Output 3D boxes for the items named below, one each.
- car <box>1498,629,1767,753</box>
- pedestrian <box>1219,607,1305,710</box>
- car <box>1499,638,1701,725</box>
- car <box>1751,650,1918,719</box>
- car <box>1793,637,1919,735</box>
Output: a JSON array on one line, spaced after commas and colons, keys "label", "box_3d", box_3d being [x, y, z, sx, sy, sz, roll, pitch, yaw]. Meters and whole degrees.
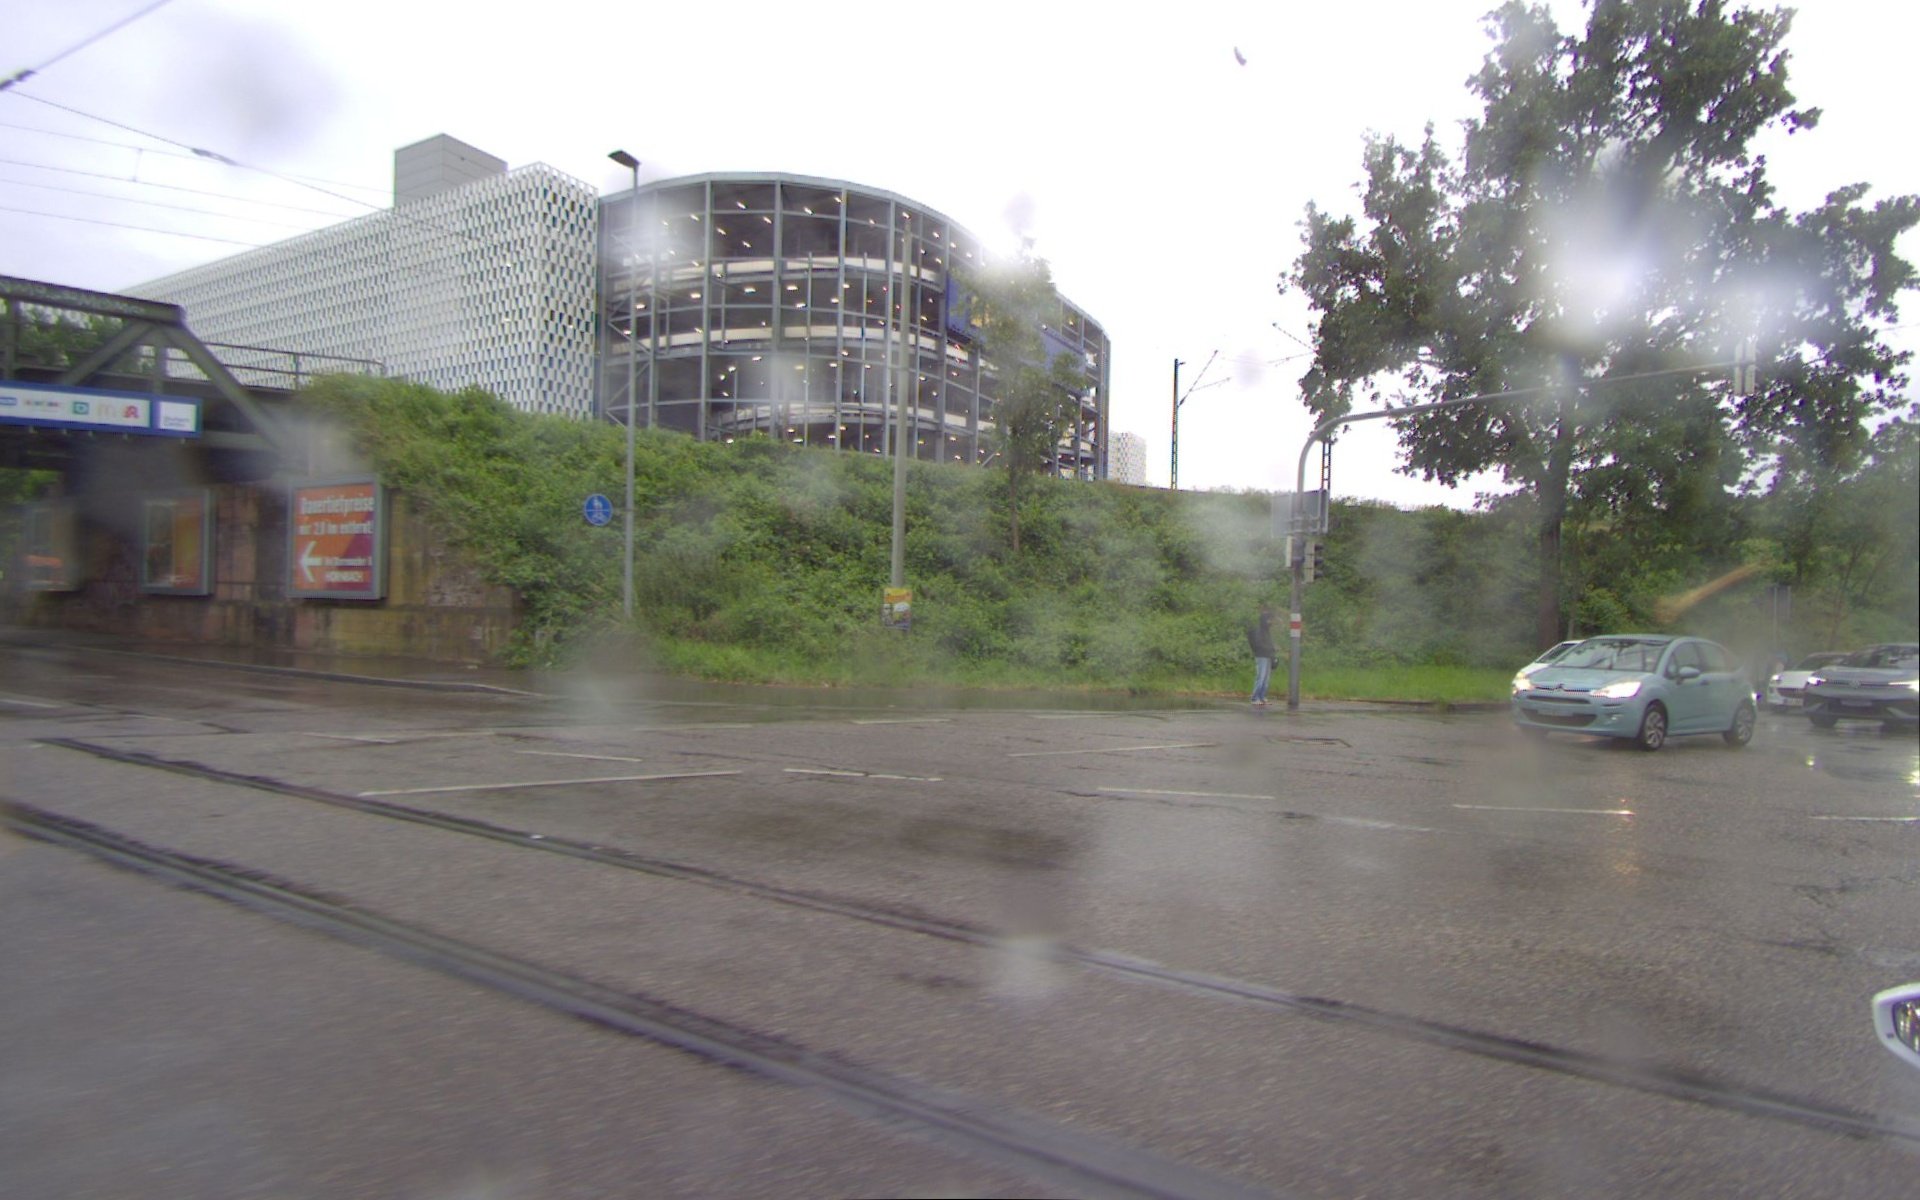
[{"label": "car", "box_3d": [9.494, 1.209, 14.115, 3.919, 1.493, 1.630, 2, -1, -31]}, {"label": "pedestrian", "box_3d": [5.784, 1.092, 19.232, 1.120, 1.871, 1.094, 2, -1, -37]}, {"label": "car", "box_3d": [12.294, 1.520, 19.267, 3.740, 1.472, 1.632, 2, -1, -28]}, {"label": "car", "box_3d": [20.121, 1.911, 23.088, 3.773, 1.422, 1.585, 2, -1, -27]}, {"label": "car", "box_3d": [17.832, 1.581, 18.769, 4.751, 1.607, 1.756, 3, -1, -27]}]
